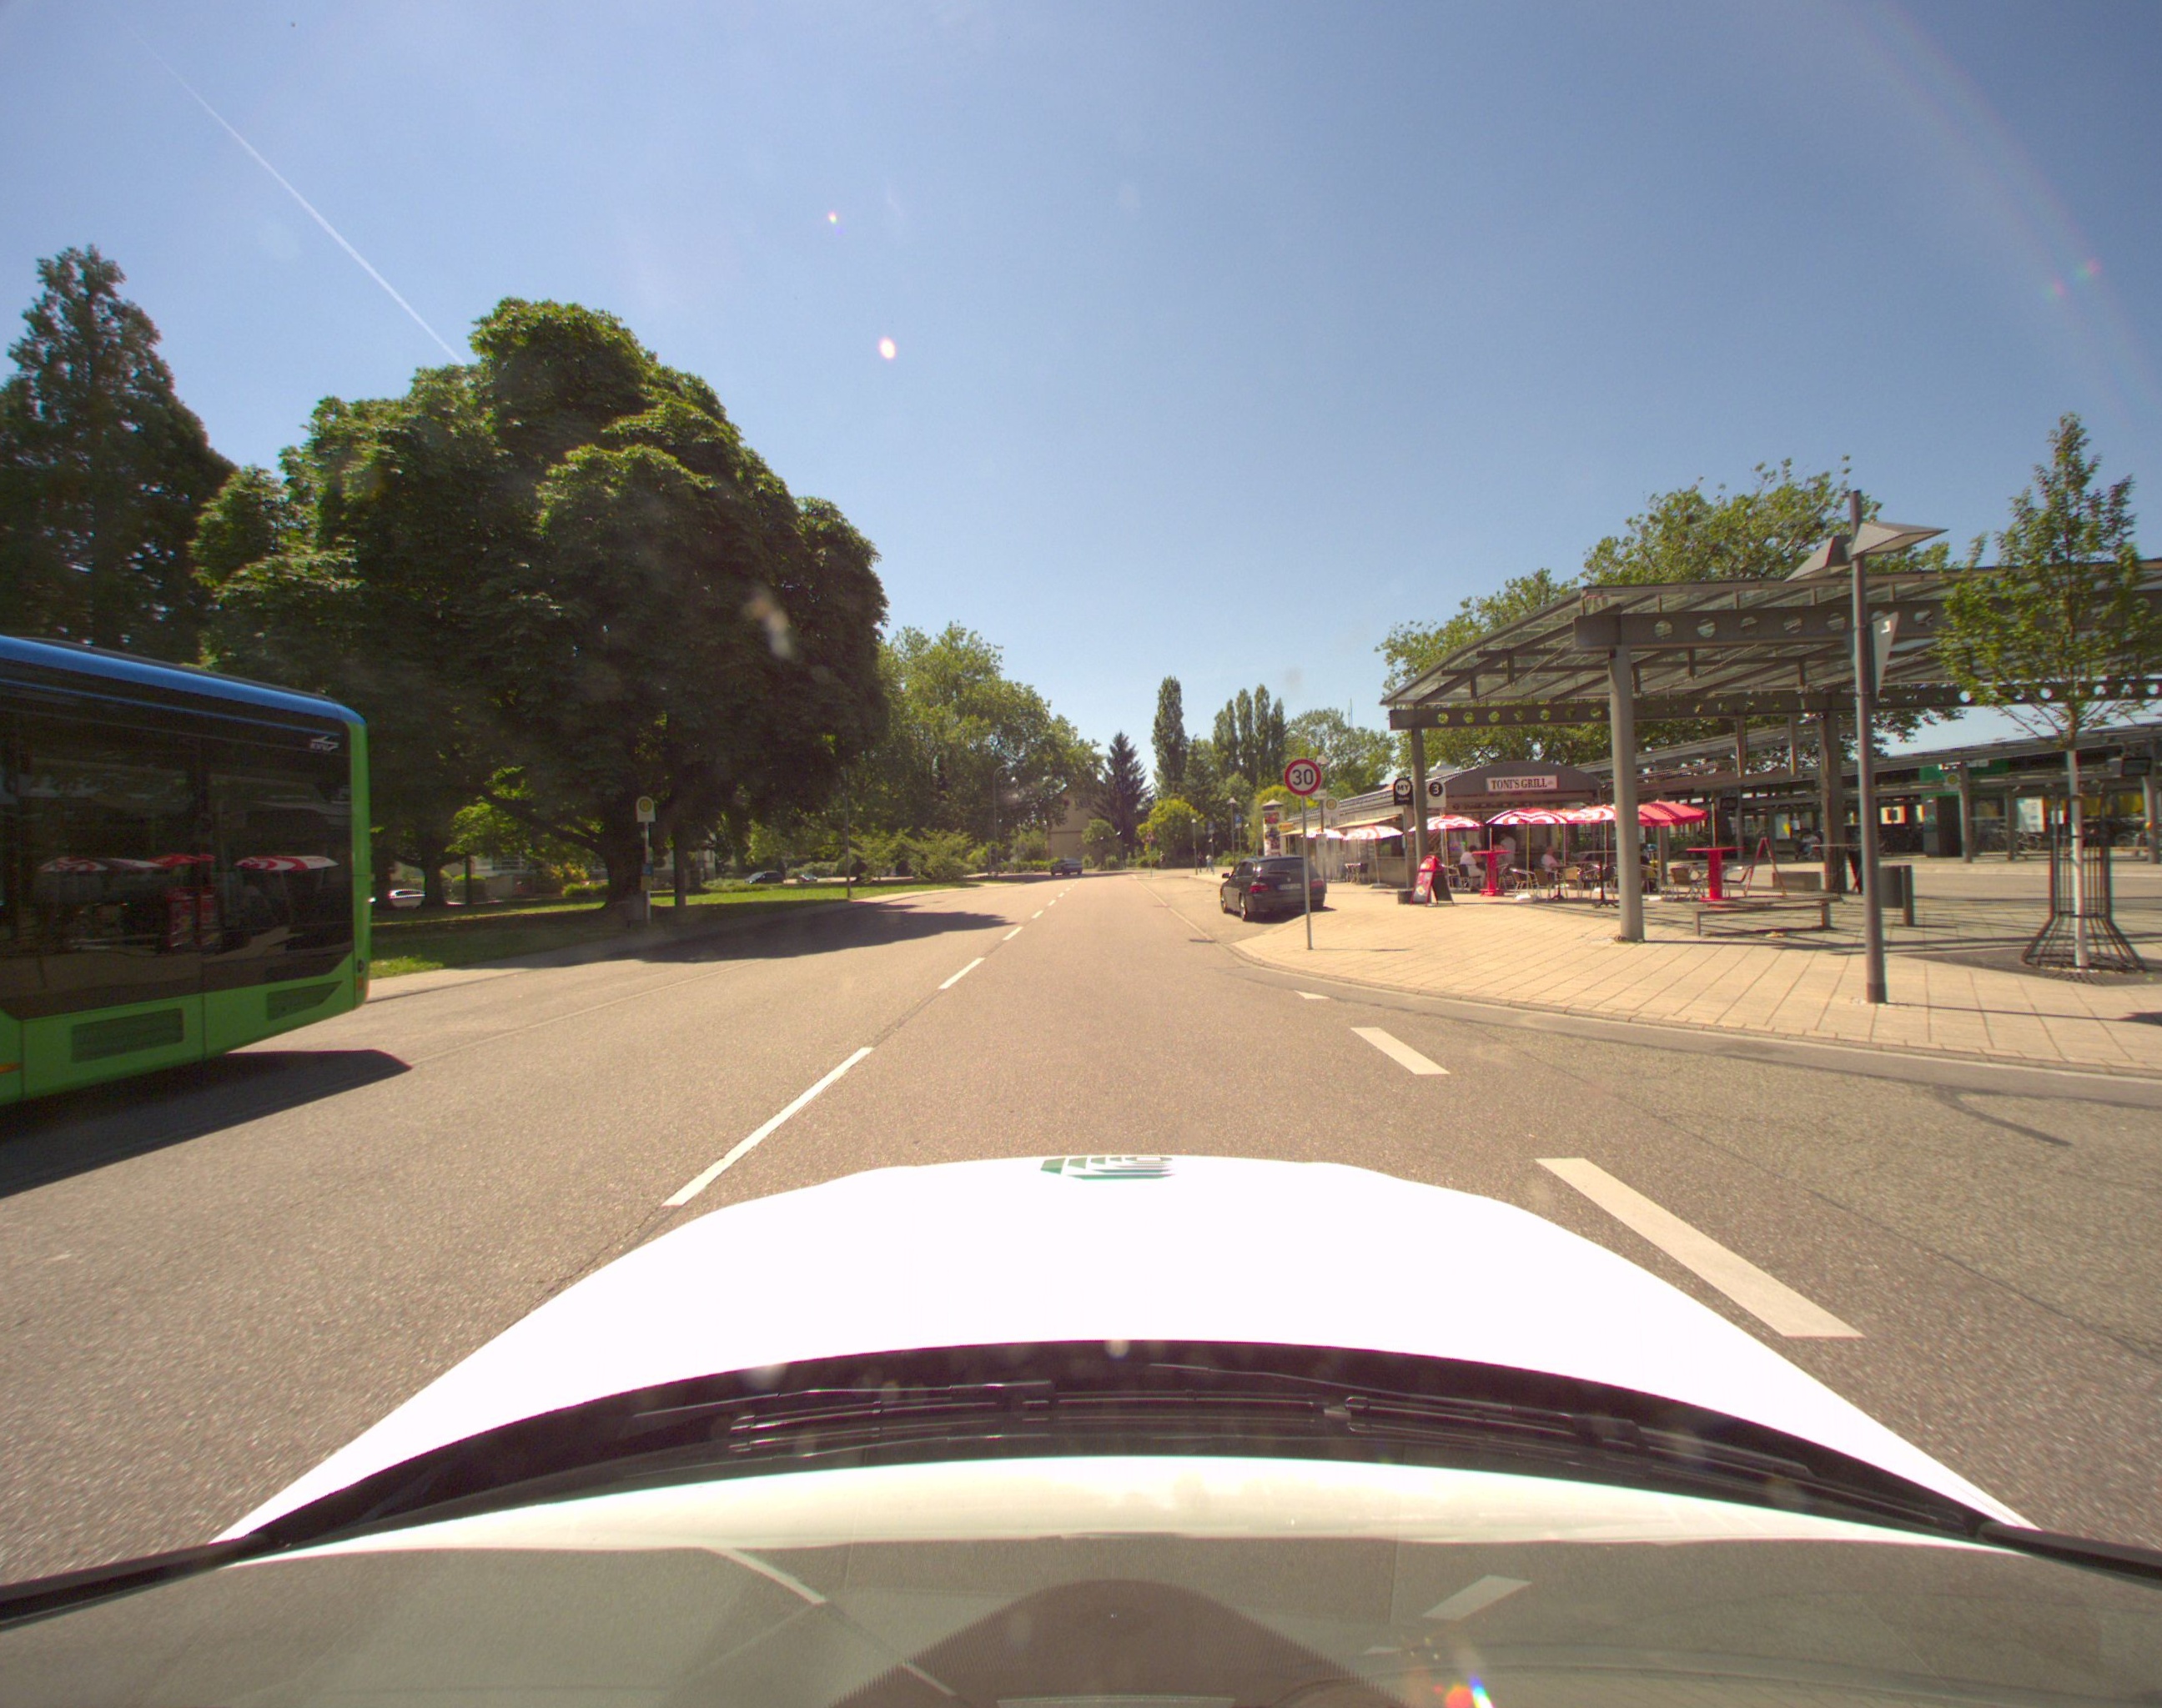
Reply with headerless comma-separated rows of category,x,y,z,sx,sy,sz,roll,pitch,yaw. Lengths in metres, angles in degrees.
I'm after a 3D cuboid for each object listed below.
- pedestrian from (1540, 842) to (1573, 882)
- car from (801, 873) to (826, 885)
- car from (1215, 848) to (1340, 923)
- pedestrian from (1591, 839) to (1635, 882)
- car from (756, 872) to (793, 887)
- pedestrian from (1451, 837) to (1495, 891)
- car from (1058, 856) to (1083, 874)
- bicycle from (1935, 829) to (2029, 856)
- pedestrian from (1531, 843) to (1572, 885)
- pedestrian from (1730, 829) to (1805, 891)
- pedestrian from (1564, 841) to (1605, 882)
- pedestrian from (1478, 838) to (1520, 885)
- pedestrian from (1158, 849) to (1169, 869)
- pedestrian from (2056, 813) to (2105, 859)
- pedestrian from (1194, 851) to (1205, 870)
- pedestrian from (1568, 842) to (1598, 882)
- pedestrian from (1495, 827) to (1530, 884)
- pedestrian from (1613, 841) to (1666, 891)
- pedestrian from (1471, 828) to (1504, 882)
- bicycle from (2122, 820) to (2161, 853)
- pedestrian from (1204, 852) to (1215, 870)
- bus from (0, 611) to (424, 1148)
pedestrian,14.818,0.254,25.386,0.653,1.205,0.592,0,-1,1
car,-32.628,3.088,99.496,1.811,1.310,3.986,-2,0,-1
car,4.676,0.701,20.127,1.920,1.460,4.725,-5,0,1
pedestrian,15.127,0.194,23.183,0.756,1.205,0.737,0,-1,1
car,-32.807,2.709,87.259,1.538,1.410,3.820,-2,0,18
pedestrian,10.621,0.259,22.062,0.899,1.418,0.681,-2,-1,-36
car,-1.039,1.068,81.077,1.980,1.627,4.768,-3,0,-6
bicycle,34.917,-0.445,31.594,2.778,1.004,0.811,0,-1,-1
pedestrian,13.575,0.295,23.498,0.898,1.161,0.681,-2,-1,-33
pedestrian,14.806,0.119,17.587,0.841,1.277,0.896,-2,-1,6
pedestrian,15.113,0.237,24.451,0.756,1.205,0.737,0,-1,1
pedestrian,12.118,0.224,23.626,0.898,1.312,0.681,-2,-1,-33
pedestrian,8.307,0.506,82.185,0.847,1.965,0.810,-2,-1,20
pedestrian,32.014,-0.565,26.104,0.623,1.395,0.676,-4,-1,1
pedestrian,10.372,0.602,71.184,0.629,1.650,0.755,-2,-3,29
pedestrian,15.633,0.252,25.364,0.650,1.205,0.595,0,-1,17
pedestrian,13.501,0.048,25.496,0.684,1.738,0.707,-2,-1,1
pedestrian,13.513,0.295,19.714,0.683,1.161,0.896,-2,0,6
pedestrian,13.464,0.048,26.959,0.684,1.738,0.707,-2,-1,1
bicycle,34.747,-0.549,25.694,2.778,1.004,0.811,0,-1,-1
pedestrian,11.462,0.627,72.667,0.713,1.650,0.755,-2,-3,29
bus,-8.096,0.193,1.826,2.798,3.283,12.429,-2,0,2
